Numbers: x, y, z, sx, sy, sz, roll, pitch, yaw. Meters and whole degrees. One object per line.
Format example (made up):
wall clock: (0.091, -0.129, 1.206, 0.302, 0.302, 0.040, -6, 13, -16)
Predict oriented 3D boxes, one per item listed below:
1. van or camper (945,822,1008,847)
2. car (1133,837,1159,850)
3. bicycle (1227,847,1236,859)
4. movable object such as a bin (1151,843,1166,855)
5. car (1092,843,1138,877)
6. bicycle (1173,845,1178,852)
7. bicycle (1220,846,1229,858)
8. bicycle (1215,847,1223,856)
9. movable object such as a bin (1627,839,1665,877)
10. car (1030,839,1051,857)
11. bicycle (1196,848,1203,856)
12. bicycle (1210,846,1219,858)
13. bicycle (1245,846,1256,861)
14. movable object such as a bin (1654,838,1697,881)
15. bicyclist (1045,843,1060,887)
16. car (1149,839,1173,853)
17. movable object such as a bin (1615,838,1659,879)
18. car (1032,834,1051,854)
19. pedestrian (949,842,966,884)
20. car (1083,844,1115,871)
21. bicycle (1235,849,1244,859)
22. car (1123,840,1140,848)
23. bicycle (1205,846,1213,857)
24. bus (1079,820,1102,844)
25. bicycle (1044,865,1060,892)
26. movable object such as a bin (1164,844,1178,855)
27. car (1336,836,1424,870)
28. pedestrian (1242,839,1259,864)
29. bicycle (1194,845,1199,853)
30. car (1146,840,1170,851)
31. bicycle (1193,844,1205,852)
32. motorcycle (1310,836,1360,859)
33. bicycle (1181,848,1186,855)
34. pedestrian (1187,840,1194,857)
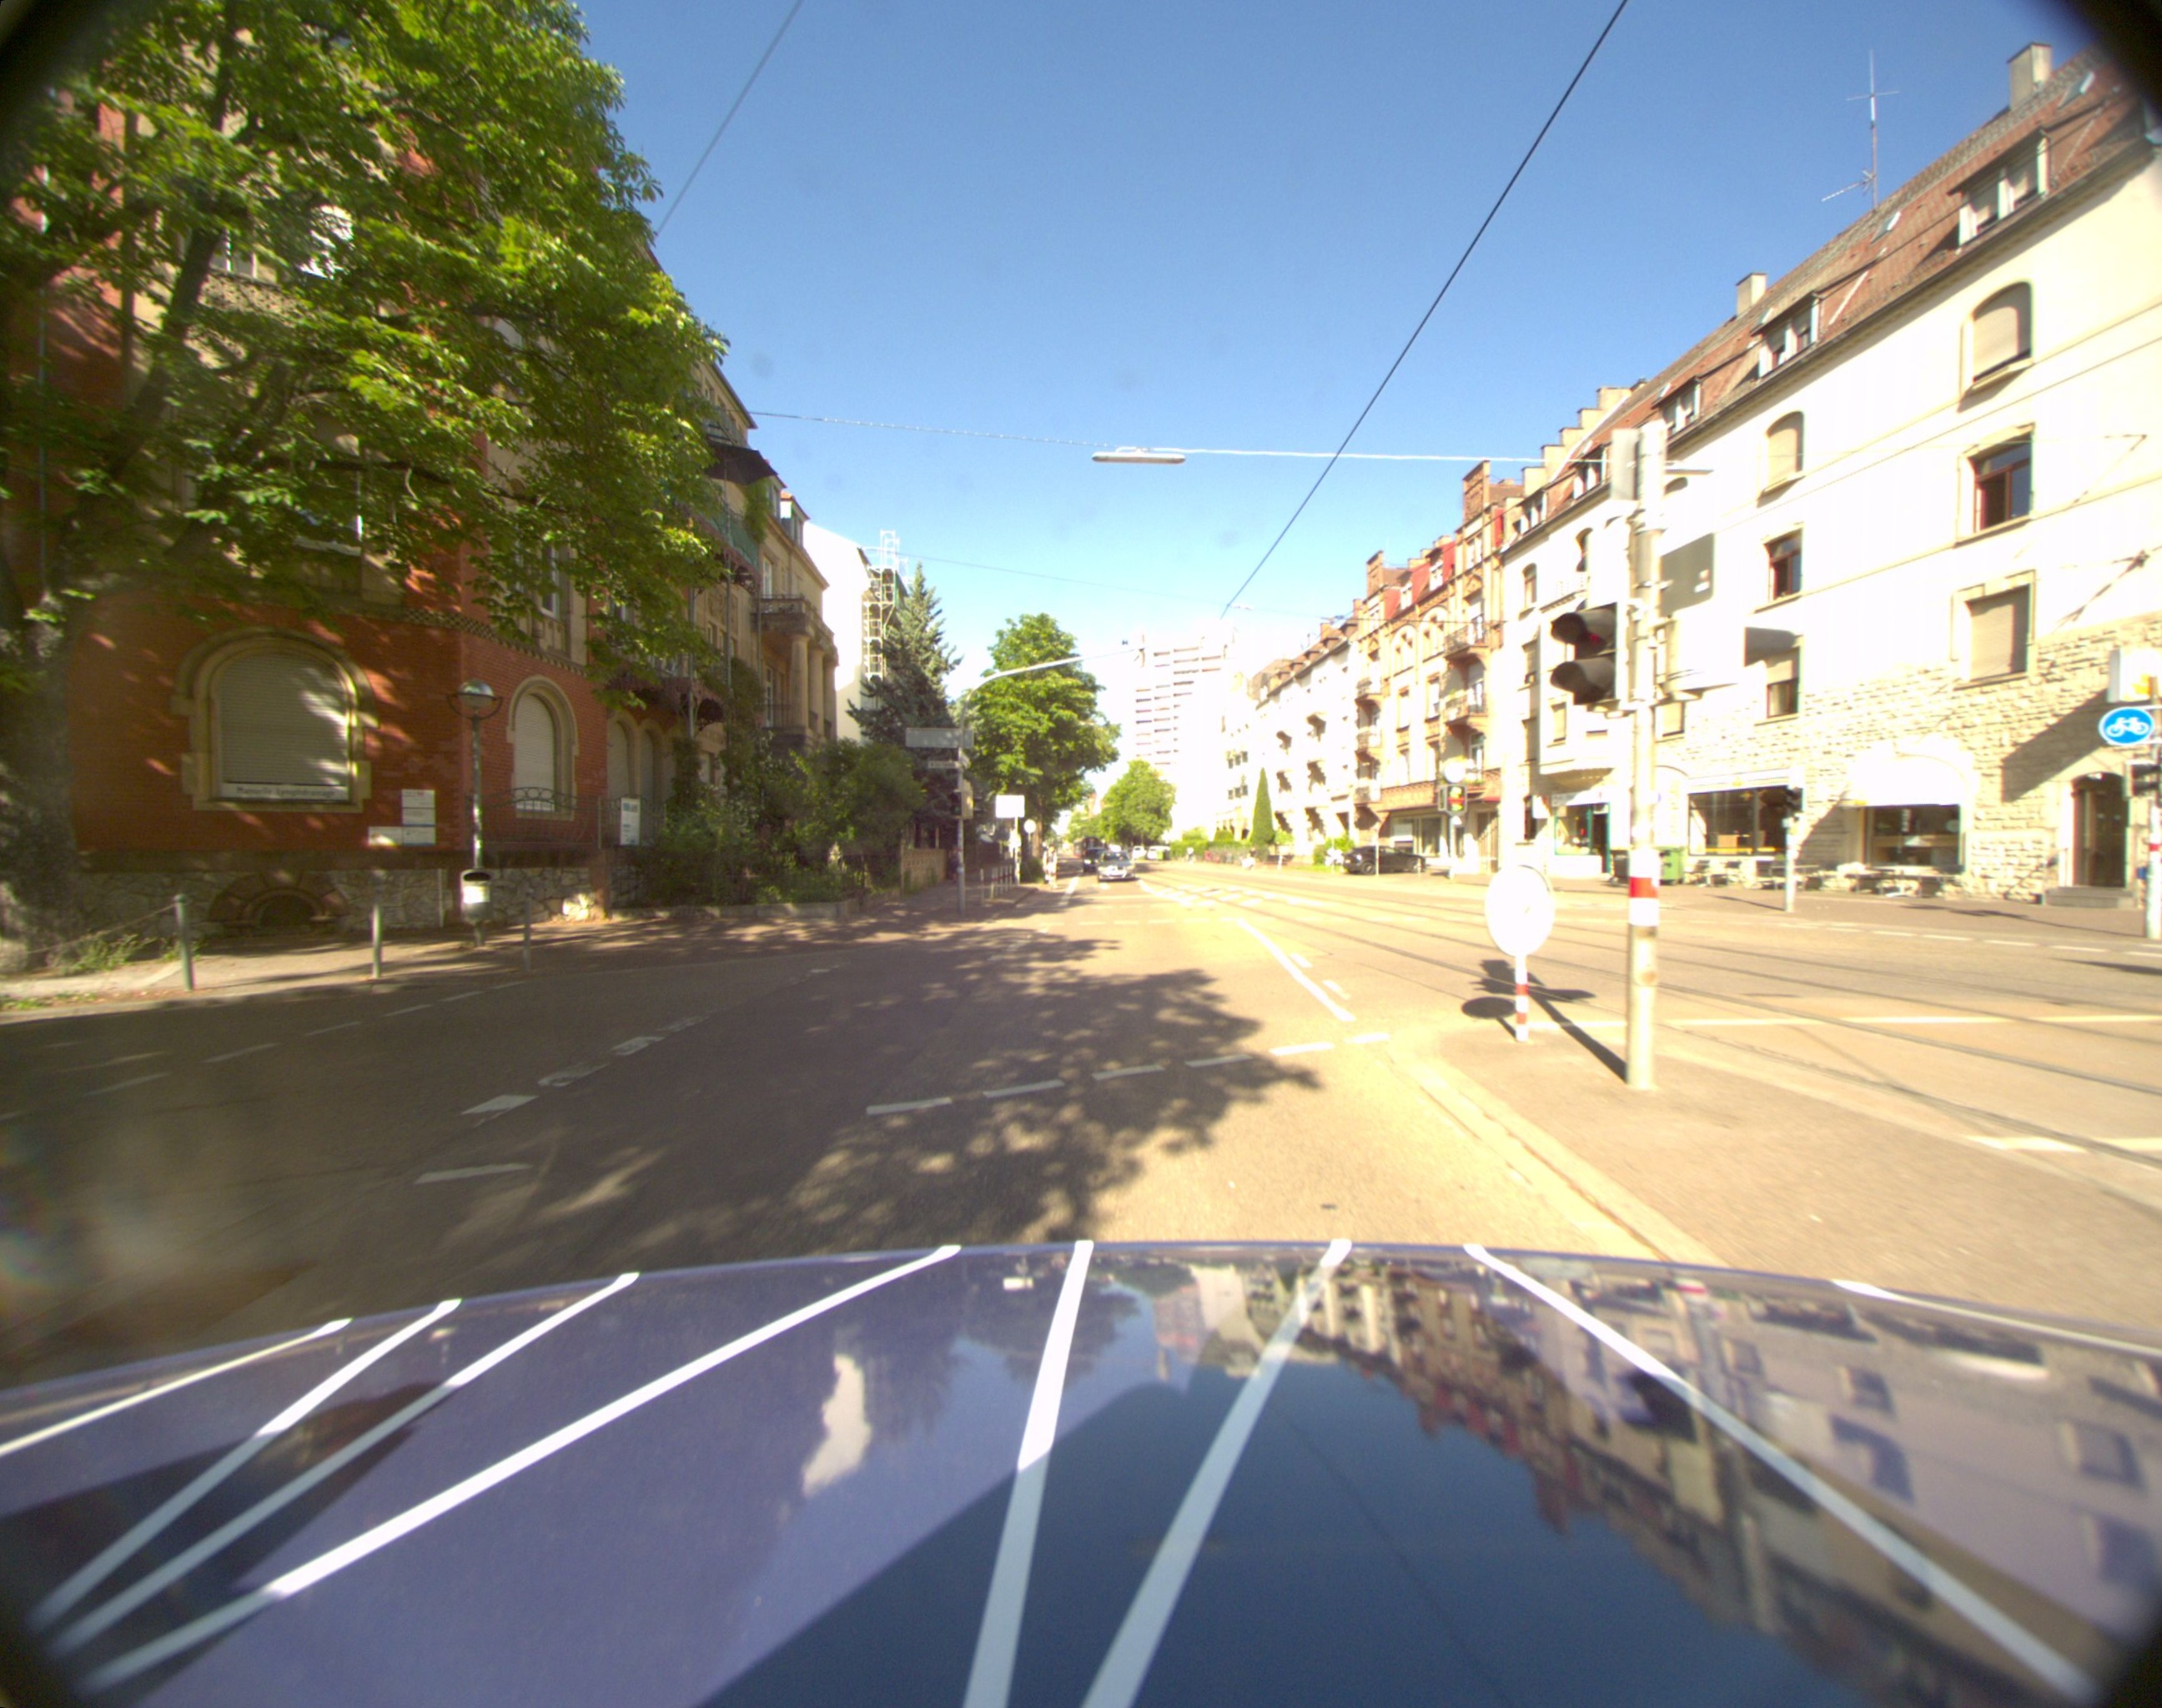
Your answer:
van or camper: (-11.737, -2.146, 85.124, 6.721, 2.612, 2.125, -1, 2, 22)
car: (9.514, -1.518, 110.753, 1.917, 1.860, 3.449, 1, 3, 44)
bicycle: (12.452, -0.107, 62.923, 0.405, 0.937, 1.748, -1, 2, -1)
movable object such as a bin: (9.561, -0.633, 93.901, 1.512, 1.424, 2.095, -1, 2, -1)
car: (1.543, 0.235, 35.493, 1.870, 1.427, 3.998, -1, 2, -1)
bicycle: (10.962, -0.663, 88.148, 0.297, 0.757, 1.262, -1, 2, -1)
bicycle: (12.287, -0.183, 64.891, 0.405, 0.937, 1.648, -1, 2, -1)
bicycle: (12.113, -0.222, 66.674, 0.318, 0.757, 1.542, -1, 2, -1)
movable object such as a bin: (19.825, 0.139, 26.681, 0.856, 1.318, 0.657, -1, 2, 10)
car: (-3.888, -0.579, 72.483, 1.877, 1.534, 4.362, 1, 2, -4)
bicycle: (11.669, -0.229, 75.152, 0.405, 0.757, 1.581, -1, 2, -1)
bicycle: (12.024, -0.187, 68.421, 0.405, 1.018, 1.815, -1, 2, -1)
bicycle: (12.813, -0.045, 57.359, 0.405, 1.033, 1.748, -1, 2, -1)
movable object such as a bin: (19.567, 0.172, 25.018, 1.024, 1.373, 0.859, 1, 3, 43)
bicyclist: (-1.113, 0.432, 29.588, 0.532, 1.660, 0.878, -1, 2, 0)
car: (10.296, -0.981, 97.351, 1.456, 1.763, 3.194, 1, 0, 43)
movable object such as a bin: (19.095, 0.141, 26.119, 0.856, 1.373, 1.028, -1, 2, 10)
car: (-4.743, -1.251, 90.960, 2.132, 2.330, 5.801, 1, 2, -4)
pedestrian: (-5.001, 0.350, 30.787, 0.593, 1.662, 0.646, 1, 2, -1)
car: (1.127, 0.185, 48.284, 1.828, 1.559, 3.998, -1, 2, -1)
bicycle: (12.429, 0.009, 59.588, 0.318, 0.757, 1.651, -1, 2, -1)
car: (8.651, -1.725, 130.510, 2.758, 1.418, 1.225, -2, 2, -18)
bicycle: (11.908, -0.257, 70.730, 0.405, 1.018, 1.815, -1, 2, -1)
bus: (1.526, -3.688, 126.197, 2.858, 3.756, 12.189, -2, 2, -3)
bicycle: (-1.107, 0.929, 29.631, 0.535, 0.917, 2.056, -1, 2, 0)
movable object such as a bin: (11.243, -0.583, 94.924, 1.501, 1.309, 2.095, -1, 2, -1)
car: (15.887, -0.085, 40.451, 3.999, 1.494, 1.770, -4, 2, -8)
pedestrian: (11.855, -0.171, 53.263, 0.869, 1.620, 0.870, -6, 2, -1)
bicycle: (11.634, -0.483, 76.651, 0.339, 0.757, 1.262, -1, 2, -1)
car: (10.211, -1.106, 100.322, 2.758, 1.427, 1.457, -2, 2, -18)
bicycle: (12.387, -0.589, 79.840, 1.262, 0.789, 0.297, -1, 2, -1)
motorcycle: (17.077, -0.474, 51.185, 3.093, 1.448, 0.823, -2, 2, -4)
bicycle: (11.284, -0.312, 83.461, 0.297, 0.757, 1.262, -1, 2, -1)
pedestrian: (10.539, -0.493, 73.080, 0.476, 1.619, 0.659, -1, 2, -1)
